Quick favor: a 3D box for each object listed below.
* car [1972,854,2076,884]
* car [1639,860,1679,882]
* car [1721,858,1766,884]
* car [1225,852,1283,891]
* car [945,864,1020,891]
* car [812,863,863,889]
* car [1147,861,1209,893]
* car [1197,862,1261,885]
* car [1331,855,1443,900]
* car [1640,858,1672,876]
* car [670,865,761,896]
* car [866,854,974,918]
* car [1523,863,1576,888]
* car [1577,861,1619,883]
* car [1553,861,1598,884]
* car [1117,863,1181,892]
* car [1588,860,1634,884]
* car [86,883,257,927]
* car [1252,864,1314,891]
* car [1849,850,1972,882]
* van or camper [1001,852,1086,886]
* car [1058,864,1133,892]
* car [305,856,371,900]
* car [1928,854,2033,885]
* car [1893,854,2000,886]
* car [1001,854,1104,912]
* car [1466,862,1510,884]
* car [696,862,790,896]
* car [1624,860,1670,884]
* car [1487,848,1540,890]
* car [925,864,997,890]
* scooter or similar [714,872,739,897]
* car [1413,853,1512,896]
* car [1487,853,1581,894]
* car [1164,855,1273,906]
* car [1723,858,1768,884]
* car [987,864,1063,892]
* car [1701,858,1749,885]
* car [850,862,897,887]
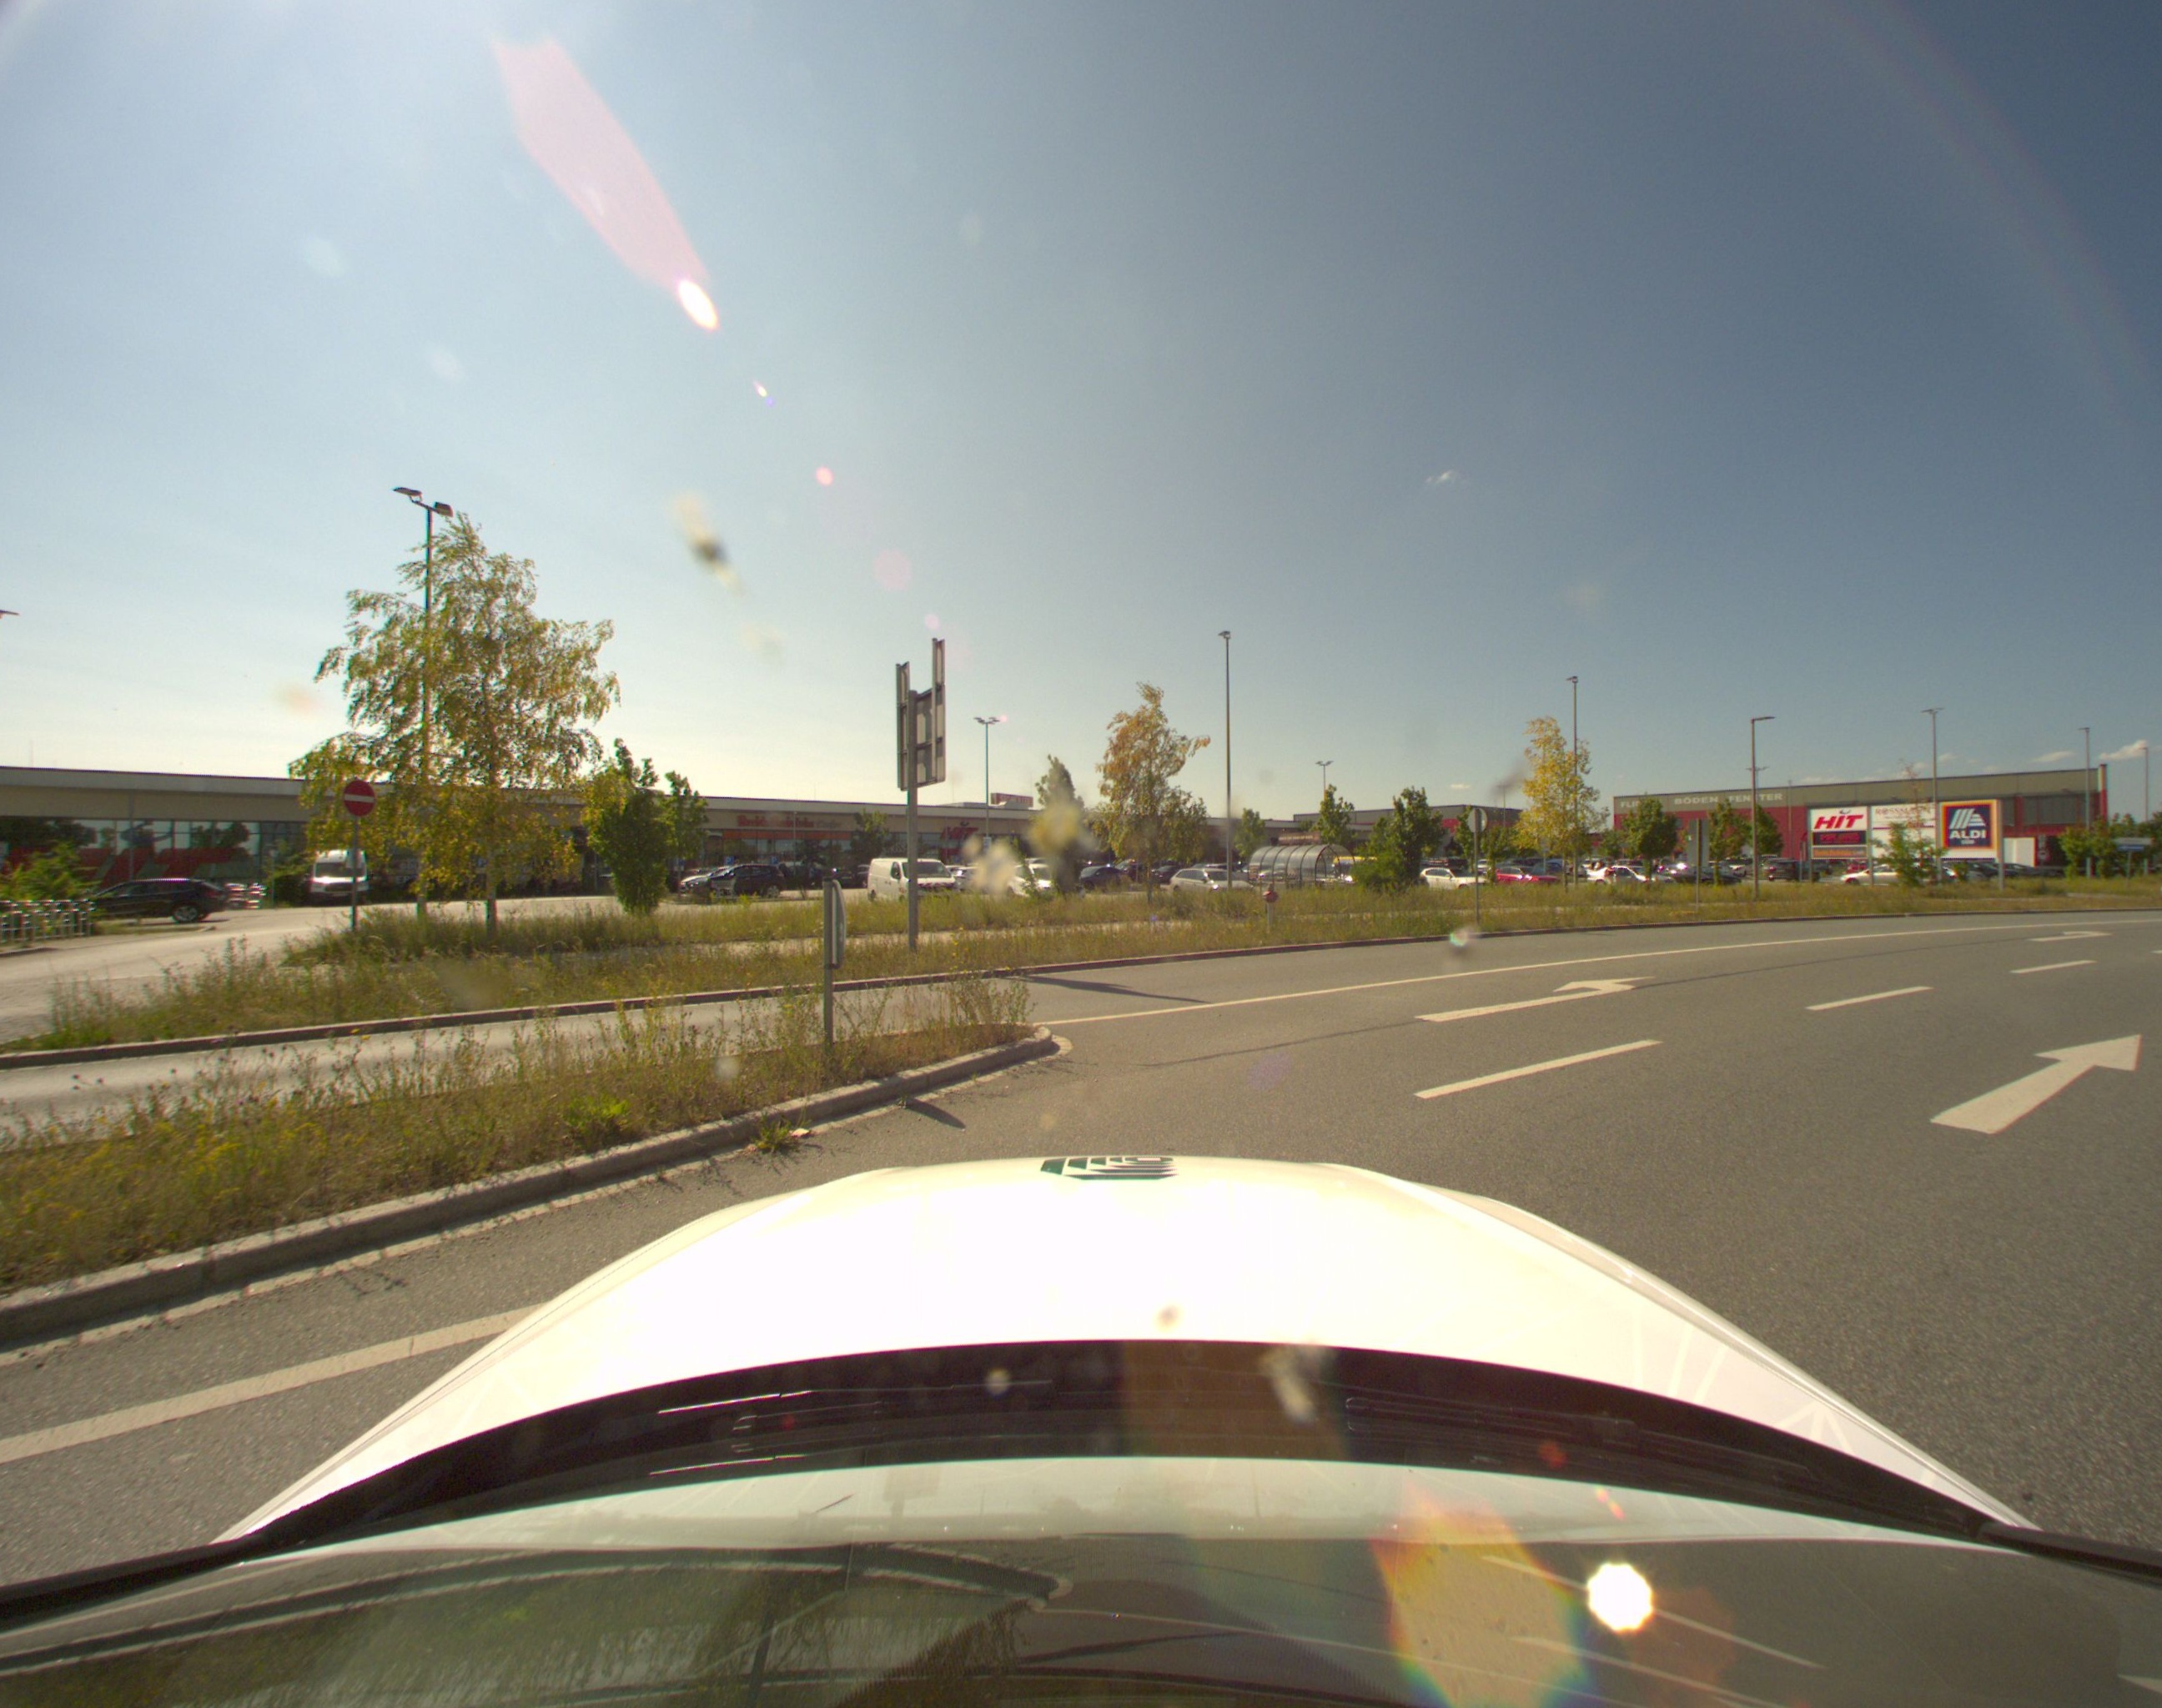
[{"bbox_3d":[67.105,1.063,58.015,2.004,2.038,4.445,0,-2,-27],"label":"car"},{"bbox_3d":[56.845,1.677,80.040,4.506,2.038,1.977,0,-2,-39],"label":"car"},{"bbox_3d":[55.635,1.422,68.358,4.506,2.038,1.977,0,-2,-39],"label":"car"},{"bbox_3d":[12.904,1.302,60.595,4.510,2.822,1.975,1,-2,-44],"label":"car"},{"bbox_3d":[-5.314,1.241,44.178,3.752,1.391,1.711,0,-1,-42],"label":"car"},{"bbox_3d":[-16.678,1.500,55.729,2.010,1.707,3.953,0,-1,-39],"label":"car"},{"bbox_3d":[6.980,1.627,58.305,4.510,2.192,1.975,1,-2,-44],"label":"car"},{"bbox_3d":[9.869,1.285,54.290,4.369,1.520,1.637,0,-2,-37],"label":"car"},{"bbox_3d":[14.551,1.072,39.078,2.166,2.014,5.079,0,-1,-21],"label":"car"},{"bbox_3d":[70.170,1.577,99.307,4.506,2.038,1.977,0,-2,-39],"label":"car"},{"bbox_3d":[-20.850,1.481,46.523,4.505,1.706,1.854,0,-2,-35],"label":"car"},{"bbox_3d":[-5.742,1.038,28.444,2.094,2.014,5.177,0,-1,-31],"label":"car"},{"bbox_3d":[35.478,1.607,61.634,4.336,1.784,1.977,0,-2,-39],"label":"car"},{"bbox_3d":[48.584,1.683,76.488,4.506,2.038,1.977,0,-2,-39],"label":"car"},{"bbox_3d":[44.247,1.646,72.914,4.506,2.038,1.977,0,-2,-39],"label":"car"},{"bbox_3d":[5.055,1.747,60.699,4.502,2.103,1.979,0,-2,-35],"label":"car"},{"bbox_3d":[46.116,1.580,70.877,4.506,2.038,1.977,0,-2,-39],"label":"car"},{"bbox_3d":[-32.239,1.767,29.047,3.866,1.423,1.750,1,-2,-42],"label":"car"},{"bbox_3d":[14.454,1.662,58.250,4.506,1.863,1.977,0,-2,-39],"label":"car"},{"bbox_3d":[46.878,0.680,46.141,2.003,1.715,4.447,0,-2,-25],"label":"car"},{"bbox_3d":[-2.319,0.922,50.942,5.074,2.014,1.978,0,-1,-37],"label":"van or camper"},{"bbox_3d":[0.869,1.348,46.611,4.018,1.508,1.853,0,-2,-37],"label":"car"},{"bbox_3d":[-36.667,1.143,40.242,2.242,1.977,6.615,0,-1,-42],"label":"car"},{"bbox_3d":[61.842,1.075,56.086,2.004,2.038,4.445,0,-2,-27],"label":"car"},{"bbox_3d":[57.274,1.075,54.000,2.004,2.038,4.445,0,-2,-27],"label":"car"},{"bbox_3d":[-1.211,1.055,31.106,2.168,2.014,5.074,0,-1,-24],"label":"car"},{"bbox_3d":[39.272,1.828,78.538,4.506,2.038,1.977,0,-2,-39],"label":"car"},{"bbox_3d":[-16.205,1.181,39.127,3.824,1.509,1.712,0,-1,-38],"label":"car"},{"bbox_3d":[48.030,1.519,69.087,4.506,2.038,1.977,0,-2,-39],"label":"car"},{"bbox_3d":[30.649,1.046,57.616,4.510,2.822,1.975,1,-2,-44],"label":"car"},{"bbox_3d":[-6.882,1.297,46.755,3.752,1.391,1.711,0,-1,-42],"label":"car"},{"bbox_3d":[-16.142,1.391,37.072,0.950,1.079,0.645,0,-1,-34],"label":"scooter or similar"},{"bbox_3d":[19.179,1.006,41.172,1.945,2.014,4.378,0,-1,-21],"label":"car"},{"bbox_3d":[23.768,1.002,42.915,1.883,2.014,4.111,0,-1,-19],"label":"car"},{"bbox_3d":[5.748,1.066,34.764,2.168,2.014,5.074,0,-1,-24],"label":"car"},{"bbox_3d":[55.726,1.419,68.266,4.506,2.038,1.977,0,-2,-39],"label":"car"},{"bbox_3d":[-2.908,1.222,42.760,3.752,1.391,1.711,0,-1,-42],"label":"car"},{"bbox_3d":[50.959,1.381,64.448,4.506,2.038,1.977,0,-2,-39],"label":"car"},{"bbox_3d":[-14.716,1.412,57.615,2.008,1.707,3.957,0,-1,-35],"label":"car"}]
